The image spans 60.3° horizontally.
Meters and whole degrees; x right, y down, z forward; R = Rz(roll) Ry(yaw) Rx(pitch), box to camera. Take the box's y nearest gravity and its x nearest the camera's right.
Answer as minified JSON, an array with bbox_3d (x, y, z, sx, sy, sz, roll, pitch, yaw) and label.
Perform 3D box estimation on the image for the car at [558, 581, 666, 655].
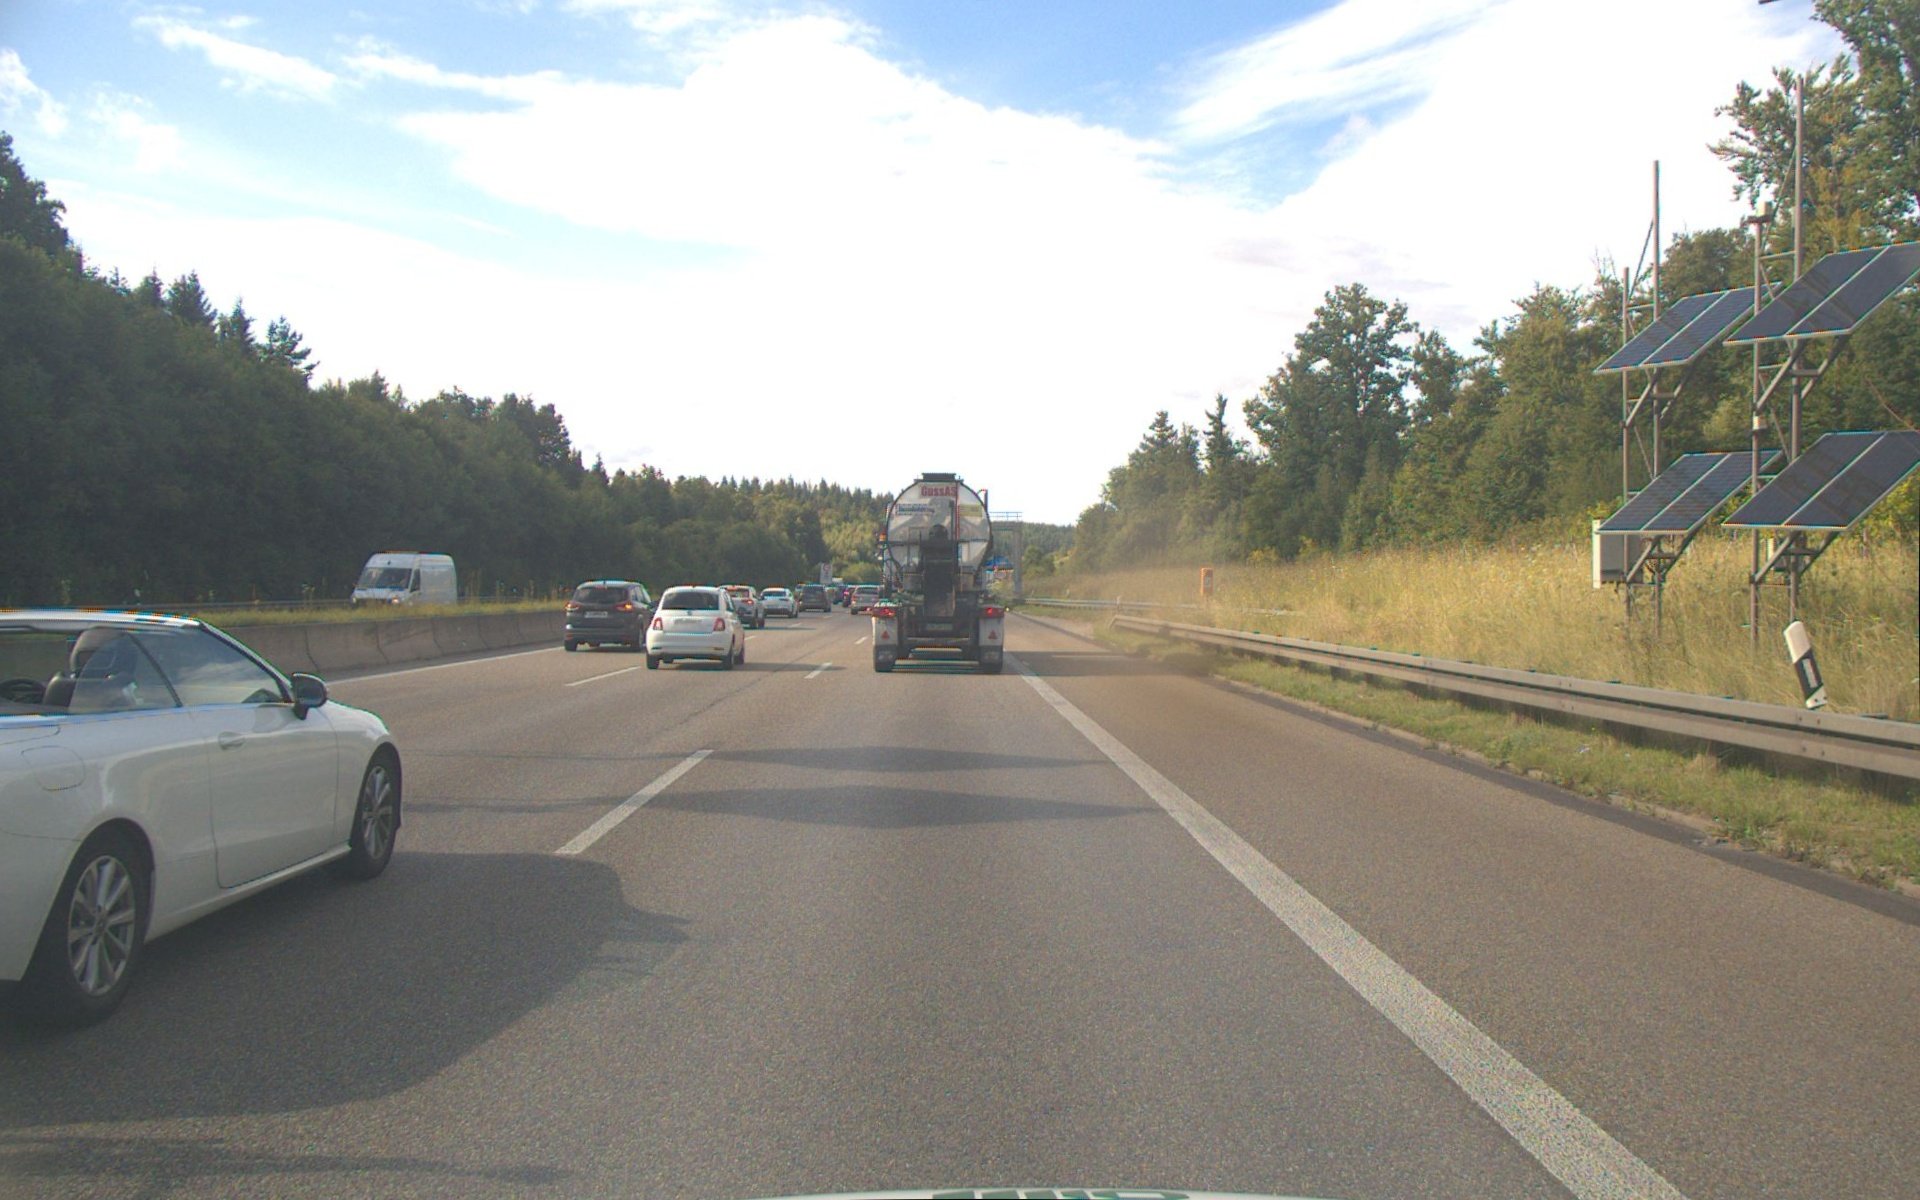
[{"bbox_3d":[-8.257,0.384,39.554,1.770,1.613,4.206,1,1,-1],"label":"car"}]

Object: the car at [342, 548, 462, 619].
[{"bbox_3d":[-19.698,-0.564,58.748,2.066,2.353,6.723,0,0,-1],"label":"car"}]

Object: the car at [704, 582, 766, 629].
[{"bbox_3d":[-8.237,0.183,60.929,1.770,1.613,4.206,1,1,-1],"label":"car"}]

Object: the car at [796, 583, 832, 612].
[{"bbox_3d":[-8.818,-0.168,100.246,1.903,1.613,4.206,1,1,-1],"label":"car"}]

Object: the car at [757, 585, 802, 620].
[{"bbox_3d":[-8.817,0.117,80.999,1.770,1.613,4.206,1,1,-1],"label":"car"}]

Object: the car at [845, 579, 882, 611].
[{"bbox_3d":[-5.428,-0.293,93.535,1.903,1.683,4.206,1,1,-1],"label":"car"}]

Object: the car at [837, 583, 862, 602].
[{"bbox_3d":[-9.382,-0.633,140.111,1.903,1.482,4.206,1,1,-1],"label":"car"}]

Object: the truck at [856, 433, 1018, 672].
[{"bbox_3d":[-0.453,-0.885,35.064,2.853,4.230,11.268,0,0,-1],"label":"truck"}]

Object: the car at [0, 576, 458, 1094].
[{"bbox_3d":[-3.853,0.675,6.572,2.018,1.525,5.735,0,0,-1],"label":"car"}]

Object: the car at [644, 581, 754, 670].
[{"bbox_3d":[-4.929,0.456,31.581,1.585,1.571,3.519,1,0,-1],"label":"car"}]

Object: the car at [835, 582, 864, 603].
[{"bbox_3d":[-8.285,-0.572,124.294,1.903,1.482,4.206,1,1,-1],"label":"car"}]

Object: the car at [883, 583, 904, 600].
[{"bbox_3d":[-6.087,-0.774,151.629,1.903,1.482,4.206,1,1,-1],"label":"car"}]
